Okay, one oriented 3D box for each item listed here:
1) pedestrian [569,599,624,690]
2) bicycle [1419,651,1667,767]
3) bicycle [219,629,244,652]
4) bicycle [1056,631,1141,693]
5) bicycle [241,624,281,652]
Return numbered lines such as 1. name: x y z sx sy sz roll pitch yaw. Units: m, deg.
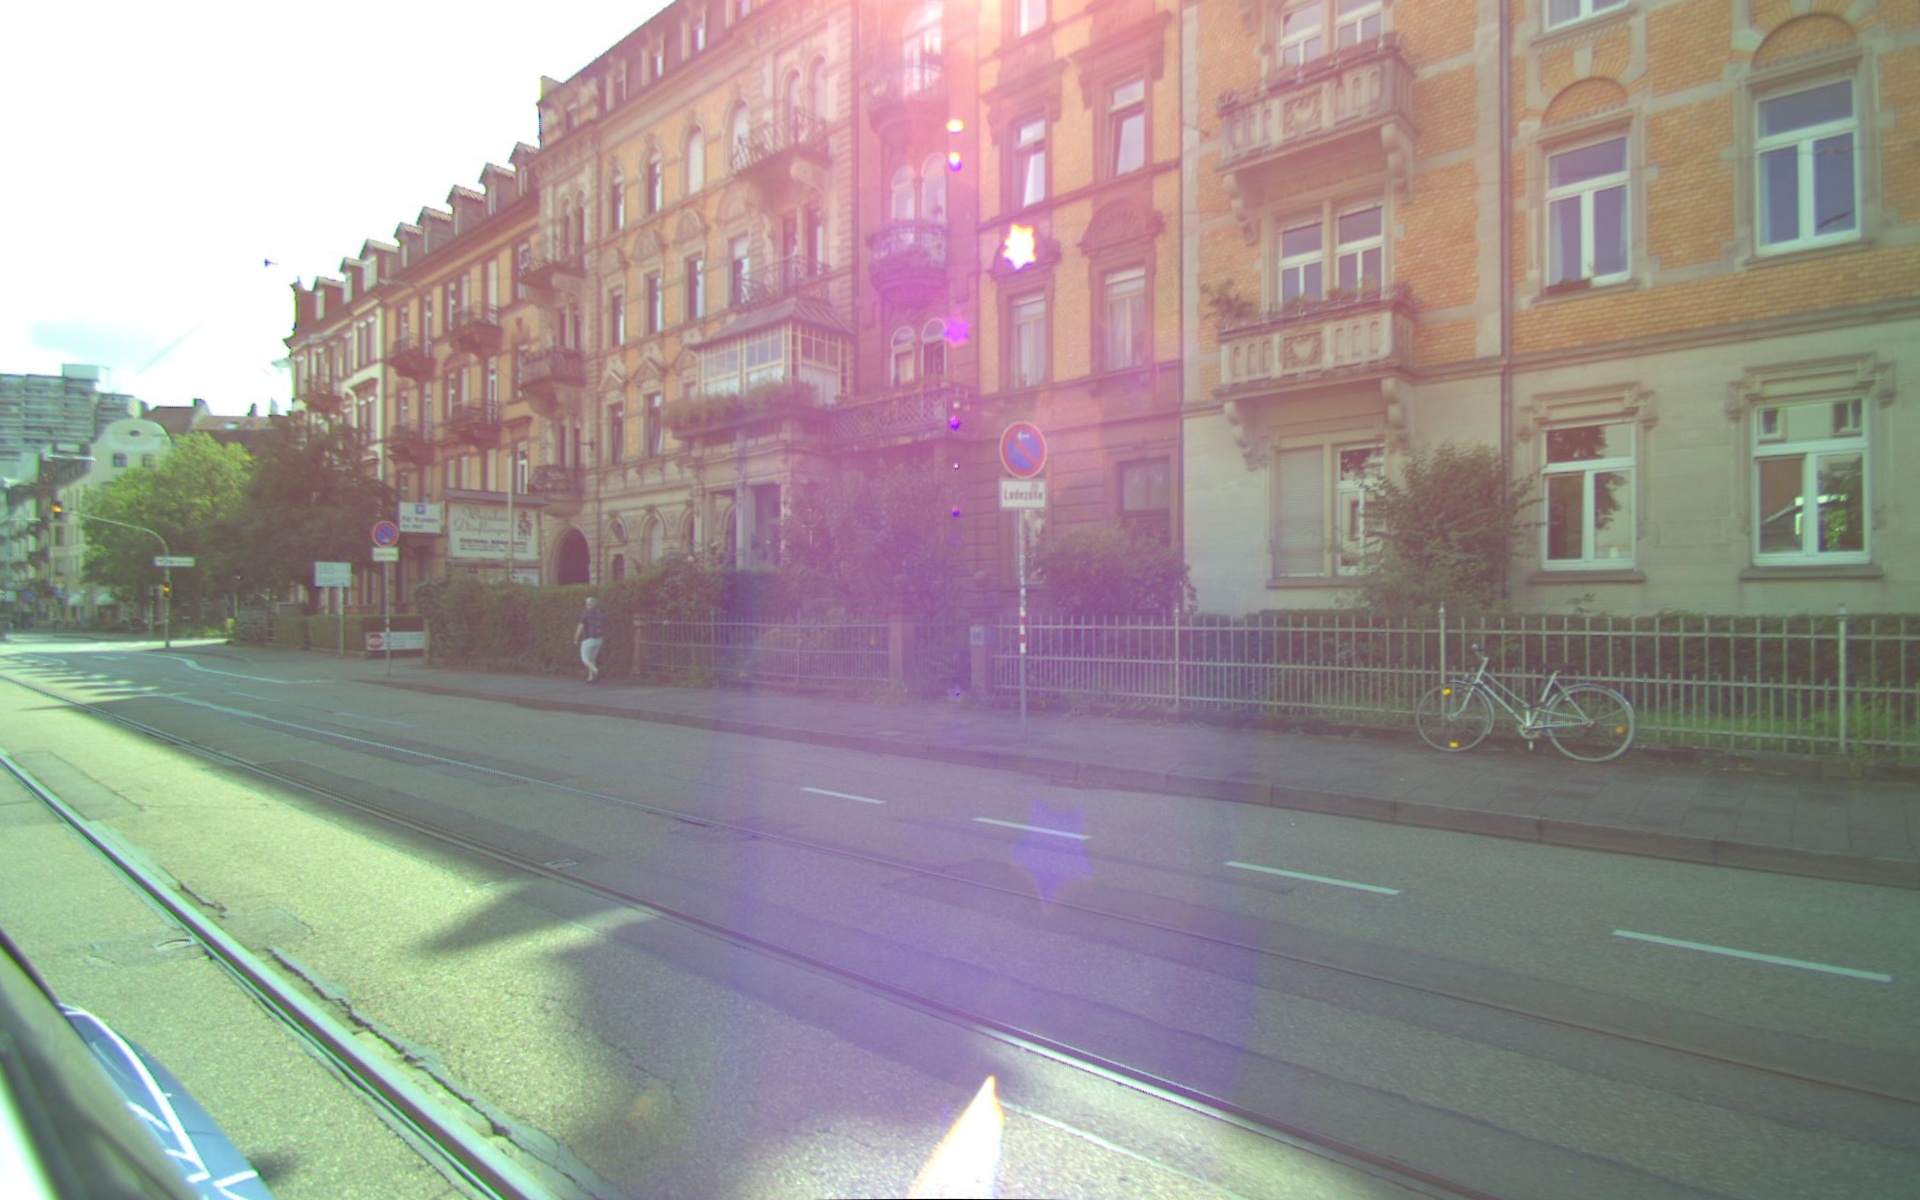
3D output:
1. pedestrian: -7.026 0.850 19.559 1.150 1.716 0.482 -1 -1 40
2. bicycle: 5.347 0.966 9.387 1.948 0.940 0.417 -1 -1 41
3. bicycle: -31.204 1.721 43.328 1.826 0.939 0.553 -1 -2 44
4. bicycle: 2.311 0.998 16.712 0.422 0.940 1.923 -1 -2 40
5. bicycle: -29.577 1.603 42.838 0.496 1.140 1.291 -1 -1 40
